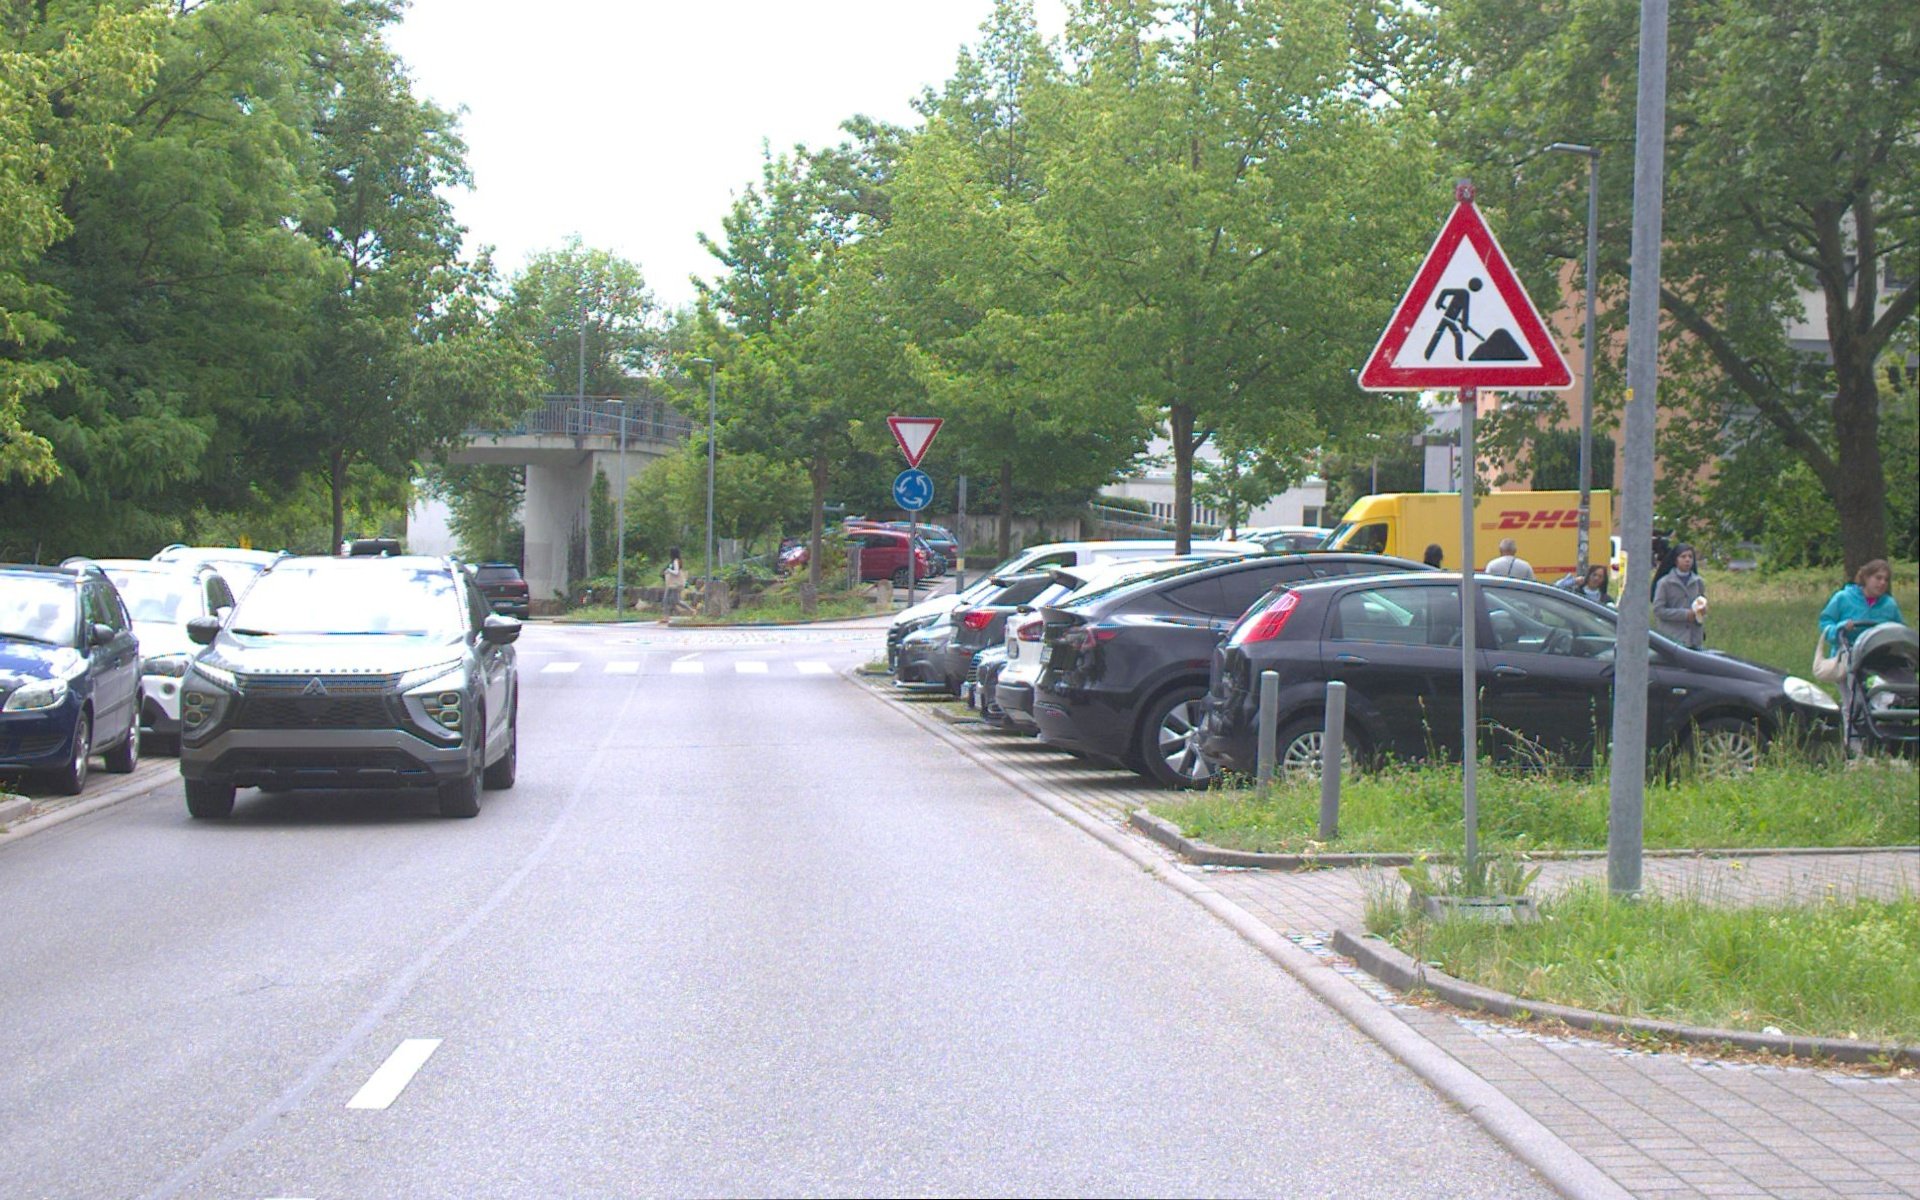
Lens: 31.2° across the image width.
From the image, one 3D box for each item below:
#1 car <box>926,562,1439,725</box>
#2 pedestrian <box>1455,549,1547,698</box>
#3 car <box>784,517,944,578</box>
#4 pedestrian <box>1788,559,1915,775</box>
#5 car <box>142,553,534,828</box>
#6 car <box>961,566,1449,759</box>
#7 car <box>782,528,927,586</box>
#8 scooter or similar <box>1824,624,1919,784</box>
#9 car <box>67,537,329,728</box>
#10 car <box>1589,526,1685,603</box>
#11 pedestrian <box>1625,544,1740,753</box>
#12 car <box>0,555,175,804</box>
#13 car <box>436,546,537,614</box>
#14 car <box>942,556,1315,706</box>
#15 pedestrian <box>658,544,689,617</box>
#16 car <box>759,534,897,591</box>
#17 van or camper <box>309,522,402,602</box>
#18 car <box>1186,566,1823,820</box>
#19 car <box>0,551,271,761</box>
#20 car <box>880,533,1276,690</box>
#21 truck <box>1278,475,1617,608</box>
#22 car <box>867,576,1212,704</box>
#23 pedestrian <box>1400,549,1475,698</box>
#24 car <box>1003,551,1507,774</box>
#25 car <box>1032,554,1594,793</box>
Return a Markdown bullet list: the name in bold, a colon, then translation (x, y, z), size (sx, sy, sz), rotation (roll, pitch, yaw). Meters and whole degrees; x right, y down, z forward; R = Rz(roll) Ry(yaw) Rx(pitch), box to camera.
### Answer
- **car**: translation (2.072, 0.389, 32.801), size (4.574, 1.487, 1.952), rotation (0, 0, -8)
- **pedestrian**: translation (6.094, 0.255, 38.731), size (0.869, 1.651, 0.593), rotation (1, 1, -5)
- **car**: translation (-2.773, -1.525, 99.720), size (4.543, 1.662, 1.945), rotation (1, 1, -1)
- **pedestrian**: translation (6.167, 0.452, 23.805), size (0.618, 1.463, 0.736), rotation (1, 1, -3)
- **car**: translation (-3.944, 0.507, 22.454), size (1.896, 1.577, 4.168), rotation (2, 1, -2)
- **car**: translation (2.055, 0.516, 29.283), size (3.987, 1.514, 1.883), rotation (1, 0, 3)
- **car**: translation (-2.737, -1.130, 89.601), size (3.650, 1.434, 1.684), rotation (1, 1, 2)
- **scooter or similar**: translation (6.214, 0.688, 22.966), size (0.580, 1.020, 0.944), rotation (1, 1, -3)
- **car**: translation (-7.496, 0.267, 34.211), size (1.807, 1.659, 4.437), rotation (4, 1, -4)
- **car**: translation (15.303, -0.810, 77.865), size (1.568, 1.653, 3.777), rotation (-1, 1, 3)
- **pedestrian**: translation (6.284, 0.411, 29.951), size (0.739, 1.786, 0.878), rotation (1, 1, -3)
- **car**: translation (-6.661, 0.468, 23.774), size (1.689, 1.482, 3.954), rotation (4, 1, -3)
- **car**: translation (-13.573, -0.562, 98.333), size (1.813, 1.673, 4.370), rotation (0, -3, -22)
- **car**: translation (1.797, 0.322, 37.551), size (3.824, 1.514, 1.912), rotation (-1, 0, -5)
- **pedestrian**: translation (-6.757, -0.459, 81.208), size (0.657, 1.716, 0.739), rotation (1, 1, -2)
- **car**: translation (-3.618, -1.037, 94.685), size (3.650, 1.493, 1.684), rotation (1, 1, 2)
- **van or camper**: translation (-20.260, -1.253, 115.059), size (1.993, 2.514, 5.472), rotation (-2, 0, -21)
- **car**: translation (3.329, 0.552, 21.459), size (3.670, 1.493, 1.645), rotation (0, 1, -2)
- **car**: translation (-6.934, 0.405, 28.707), size (1.689, 1.506, 4.231), rotation (4, 1, -4)
- **car**: translation (1.432, 0.134, 43.070), size (4.773, 1.825, 1.843), rotation (-1, 0, -3)
- **truck**: translation (10.364, -1.282, 73.484), size (6.801, 2.692, 2.475), rotation (-1, 3, -4)
- **car**: translation (0.892, 0.447, 40.099), size (3.824, 1.366, 1.843), rotation (-1, 0, -4)
- **pedestrian**: translation (5.363, 0.260, 38.639), size (0.688, 1.651, 0.600), rotation (1, 1, -5)
- **car**: translation (2.213, 0.456, 26.540), size (3.670, 1.641, 1.852), rotation (0, 1, -2)
- **car**: translation (2.377, 0.483, 23.761), size (3.670, 1.569, 1.593), rotation (0, 1, -2)
